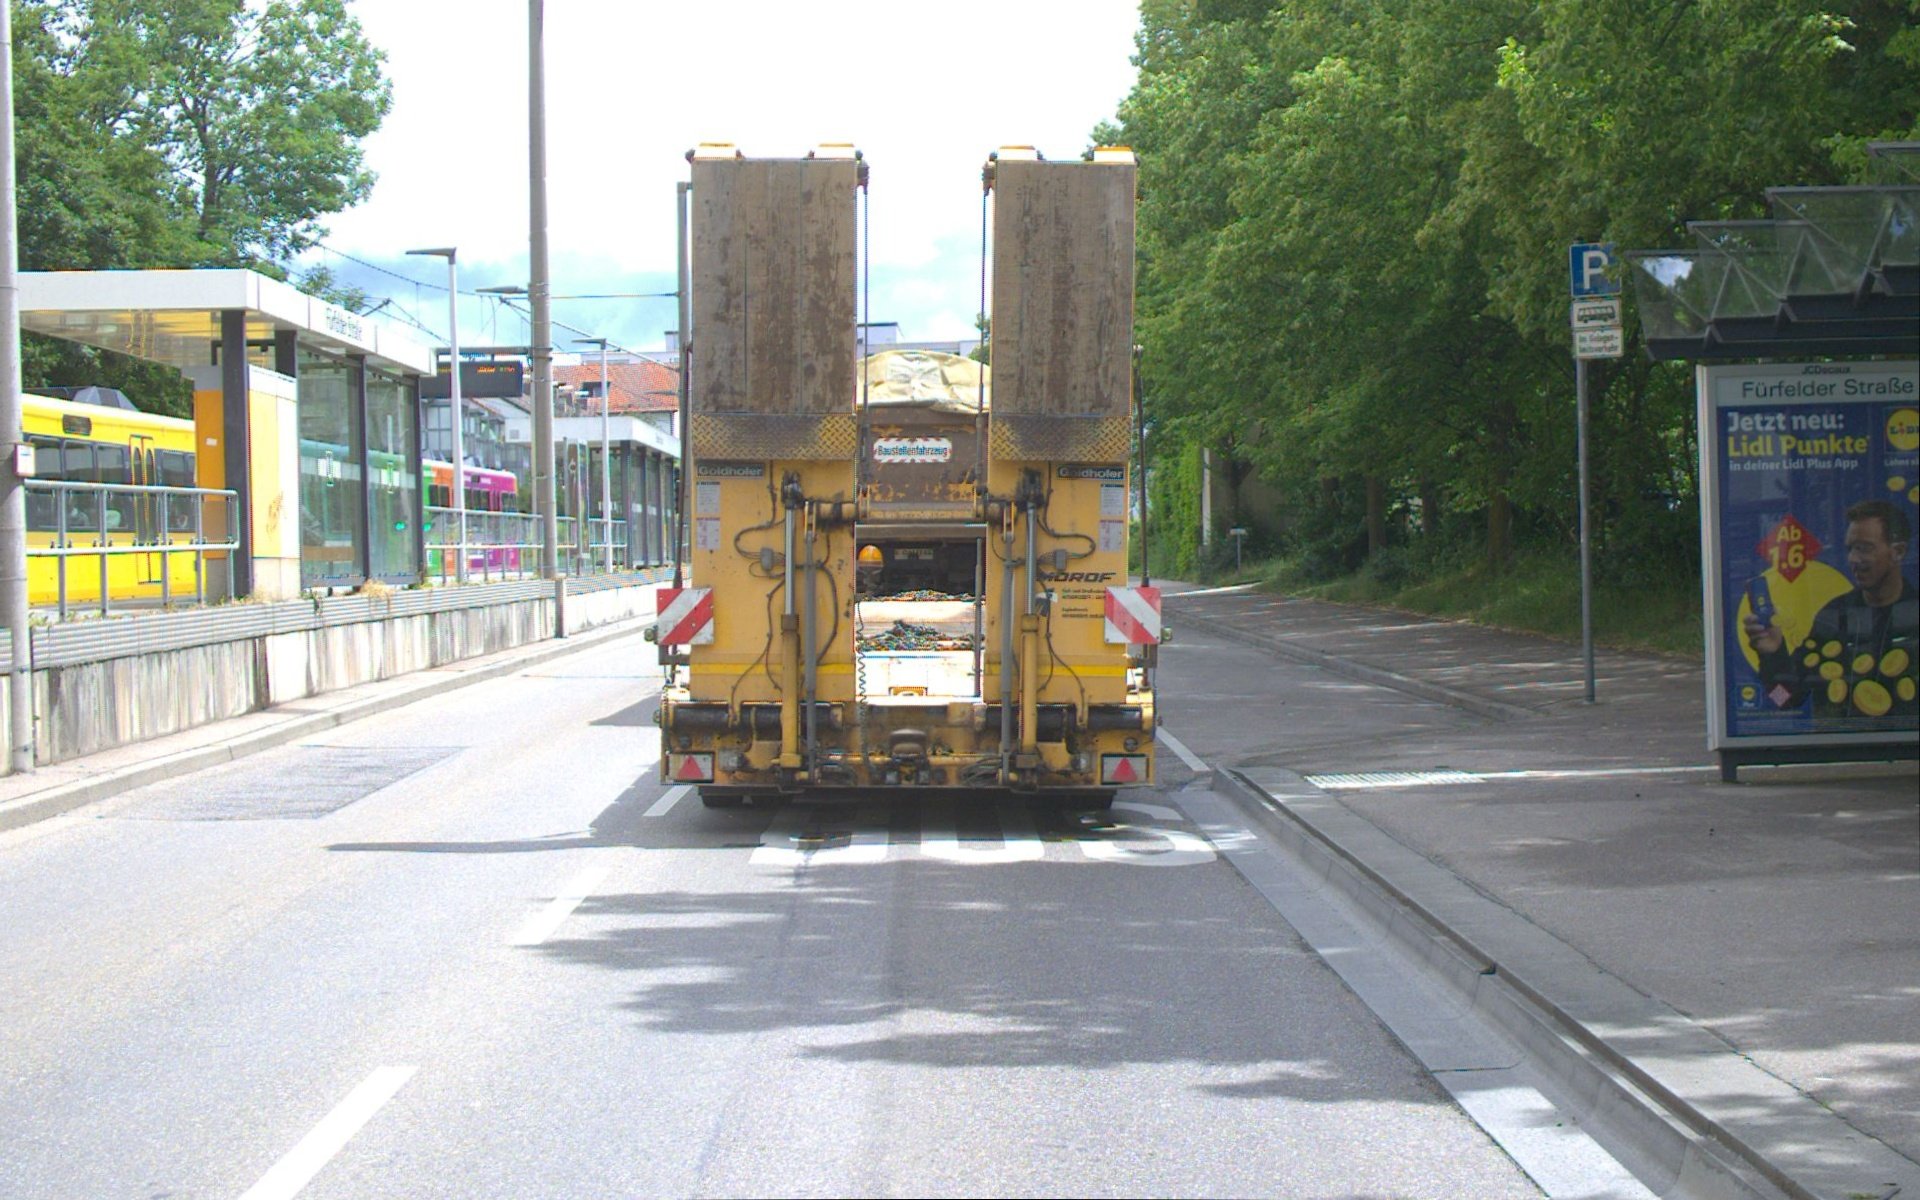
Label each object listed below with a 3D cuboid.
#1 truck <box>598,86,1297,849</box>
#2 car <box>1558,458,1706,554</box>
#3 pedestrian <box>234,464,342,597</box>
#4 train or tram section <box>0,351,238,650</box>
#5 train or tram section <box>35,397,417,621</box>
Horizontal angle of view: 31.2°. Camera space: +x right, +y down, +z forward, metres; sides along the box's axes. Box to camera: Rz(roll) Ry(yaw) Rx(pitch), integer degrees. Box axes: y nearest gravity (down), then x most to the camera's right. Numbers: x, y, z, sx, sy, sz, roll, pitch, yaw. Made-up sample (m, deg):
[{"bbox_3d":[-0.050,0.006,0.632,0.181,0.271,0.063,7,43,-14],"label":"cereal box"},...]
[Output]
[{"bbox_3d":[-0.398,-0.775,23.895,3.402,3.719,13.740,-1,1,-3],"label":"truck"},{"bbox_3d":[11.749,-1.624,60.351,1.715,1.502,4.160,-4,1,1],"label":"car"},{"bbox_3d":[-6.276,-0.647,32.133,0.795,1.182,0.920,-3,1,-2],"label":"pedestrian"},{"bbox_3d":[-12.699,-1.230,43.989,3.108,3.453,18.998,0,1,-1],"label":"train or tram section"},{"bbox_3d":[-12.930,-1.572,63.059,3.108,3.453,19.200,0,1,-1],"label":"train or tram section"}]
